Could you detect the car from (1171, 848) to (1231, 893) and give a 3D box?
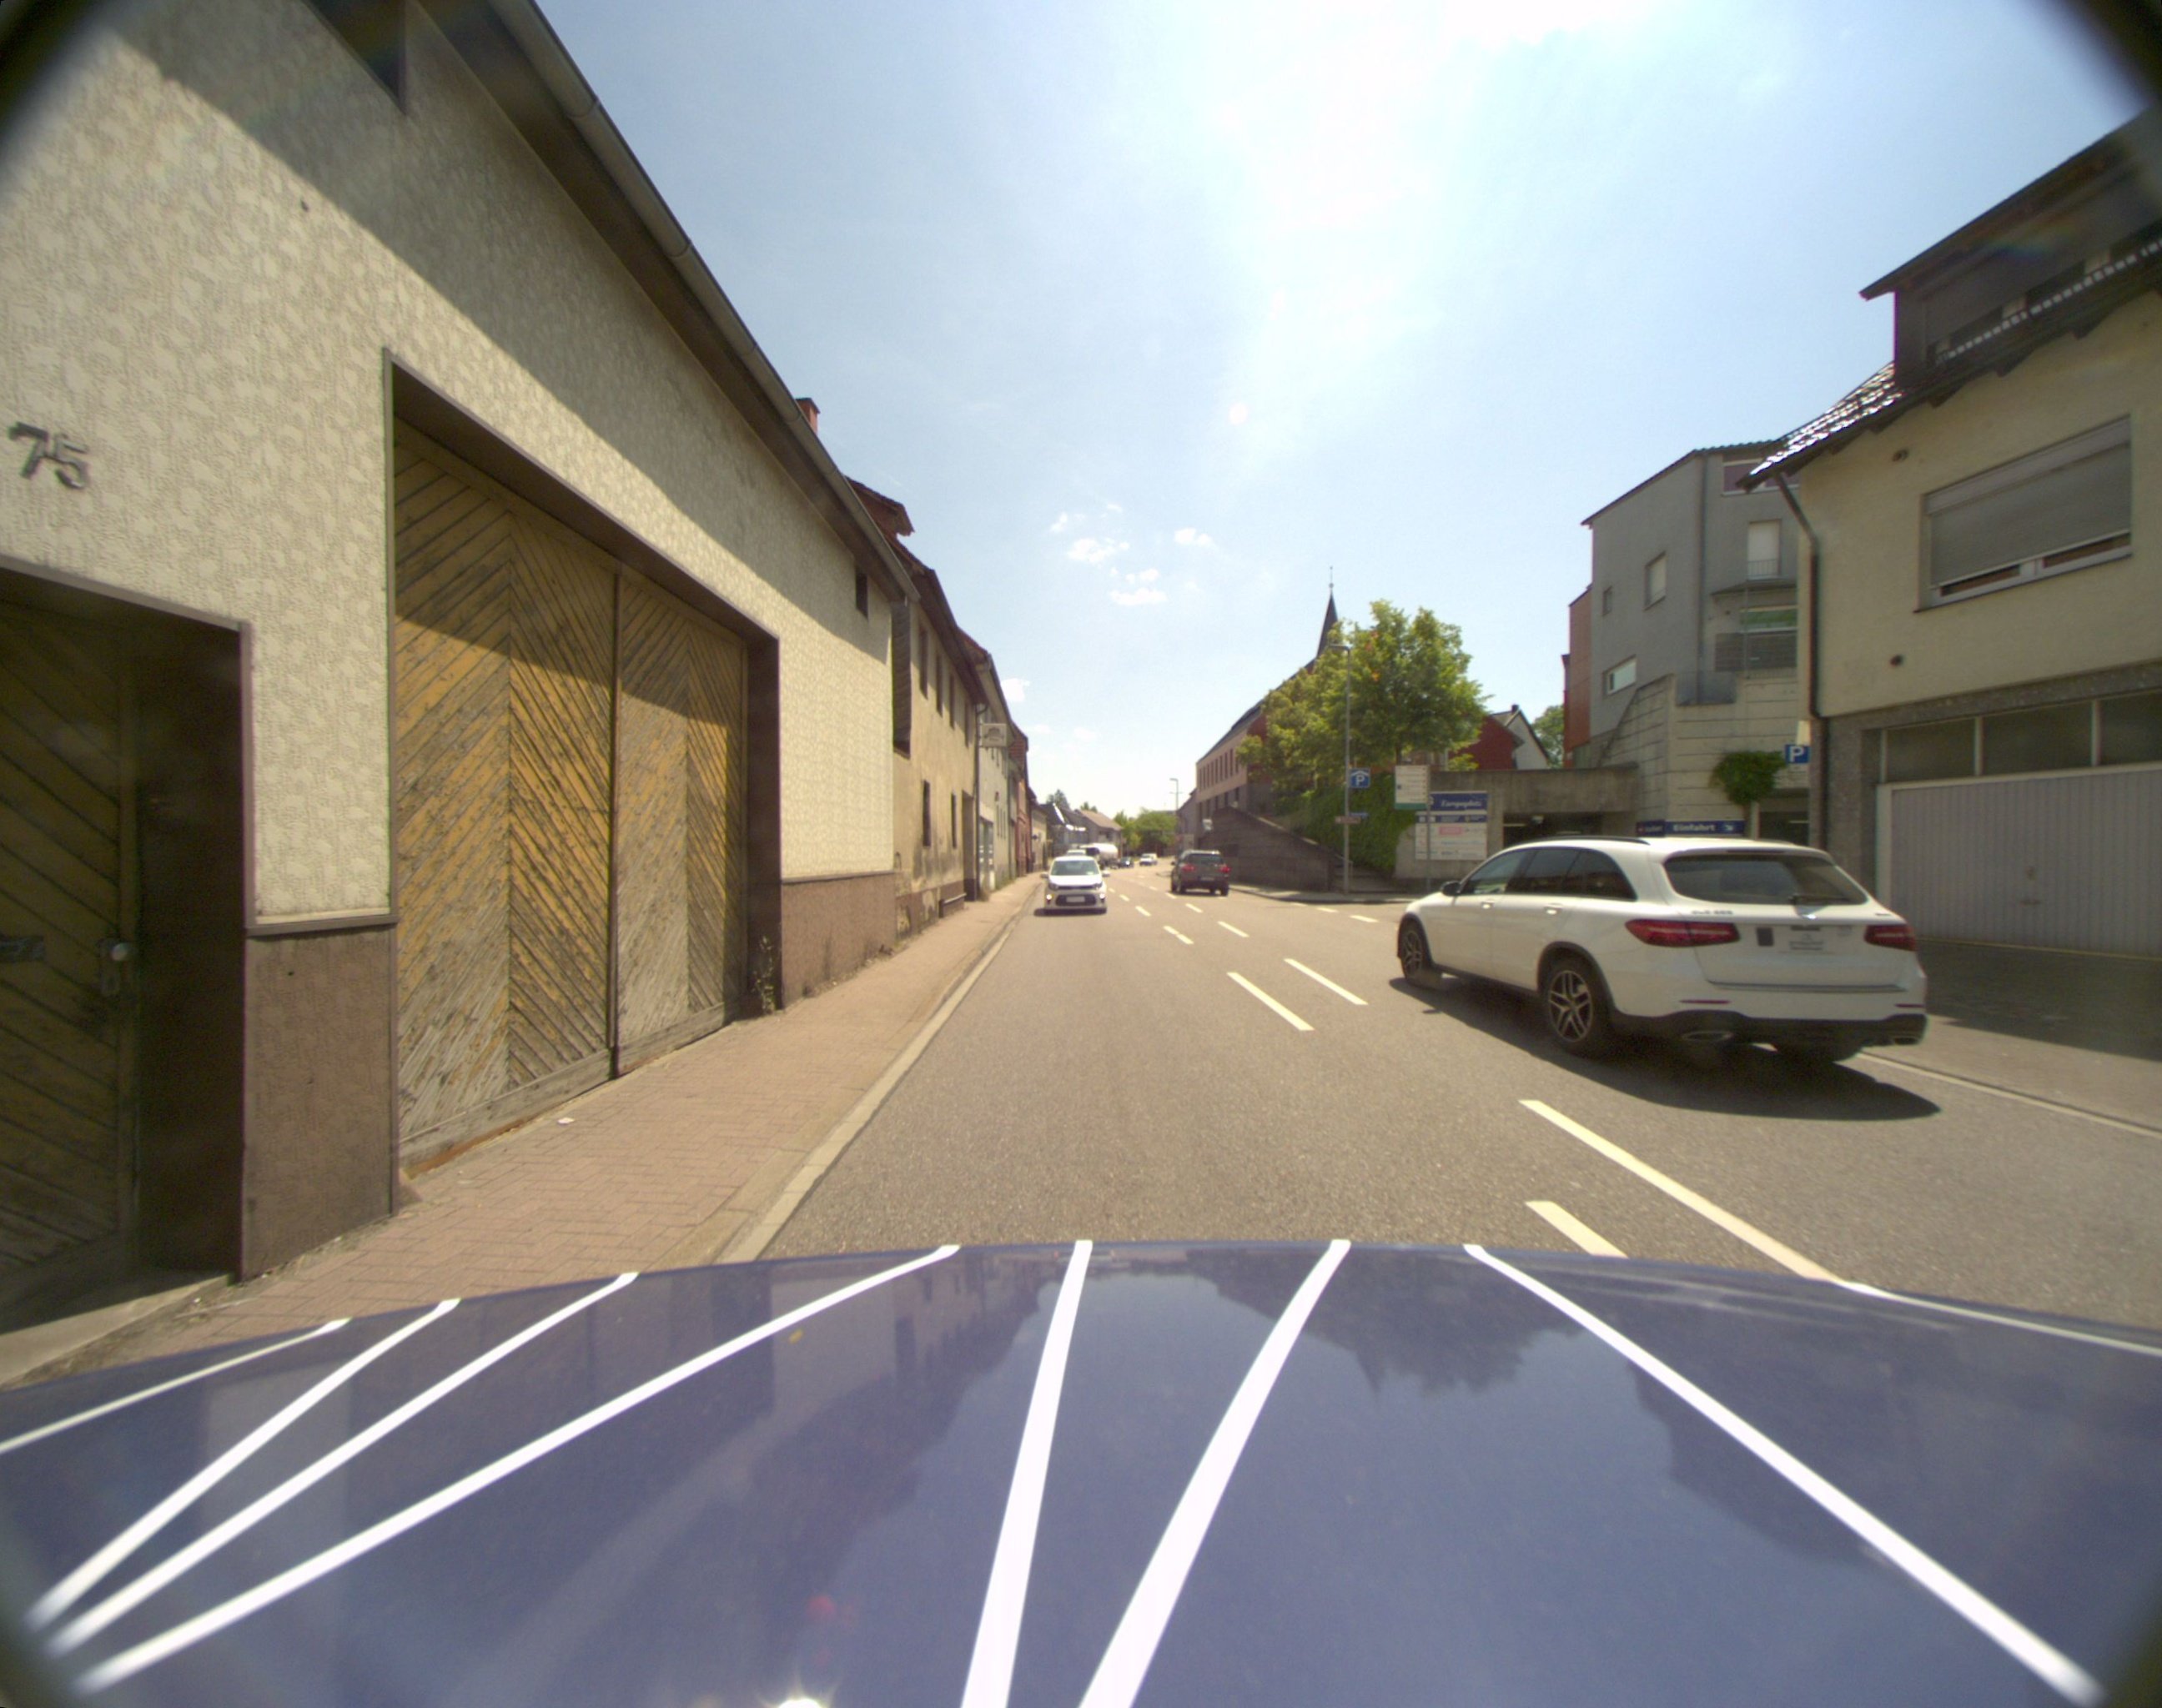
[{"bbox_3d":[4.528,0.596,29.226,1.762,1.626,4.049,0,0,1],"label":"car"}]

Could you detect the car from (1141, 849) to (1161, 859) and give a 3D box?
[{"bbox_3d":[11.492,0.035,124.745,2.008,1.621,4.585,0,0,23],"label":"car"}]

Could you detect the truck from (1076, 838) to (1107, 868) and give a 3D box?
[{"bbox_3d":[1.347,-0.085,93.324,2.845,3.549,5.473,0,0,12],"label":"truck"}]

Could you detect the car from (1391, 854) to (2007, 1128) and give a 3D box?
[{"bbox_3d":[4.498,0.800,6.652,1.847,1.571,4.446,0,0,2],"label":"car"}]

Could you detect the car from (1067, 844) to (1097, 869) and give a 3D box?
[{"bbox_3d":[0.150,0.295,80.335,2.172,2.548,4.829,0,0,14],"label":"car"}]

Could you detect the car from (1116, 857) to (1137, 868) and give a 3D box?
[{"bbox_3d":[6.738,1.244,112.620,2.008,1.621,4.584,0,0,18],"label":"car"}]

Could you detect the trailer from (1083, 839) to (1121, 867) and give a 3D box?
[{"bbox_3d":[2.868,-0.112,100.038,2.834,3.549,10.977,0,0,14],"label":"trailer"}]

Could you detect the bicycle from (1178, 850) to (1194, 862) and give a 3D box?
[{"bbox_3d":[11.640,0.238,84.391,1.834,1.241,0.577,-2,-2,-36],"label":"bicycle"}]

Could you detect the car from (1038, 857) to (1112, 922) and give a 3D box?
[{"bbox_3d":[-0.073,0.885,20.919,1.724,1.541,4.304,-2,0,3],"label":"car"}]
